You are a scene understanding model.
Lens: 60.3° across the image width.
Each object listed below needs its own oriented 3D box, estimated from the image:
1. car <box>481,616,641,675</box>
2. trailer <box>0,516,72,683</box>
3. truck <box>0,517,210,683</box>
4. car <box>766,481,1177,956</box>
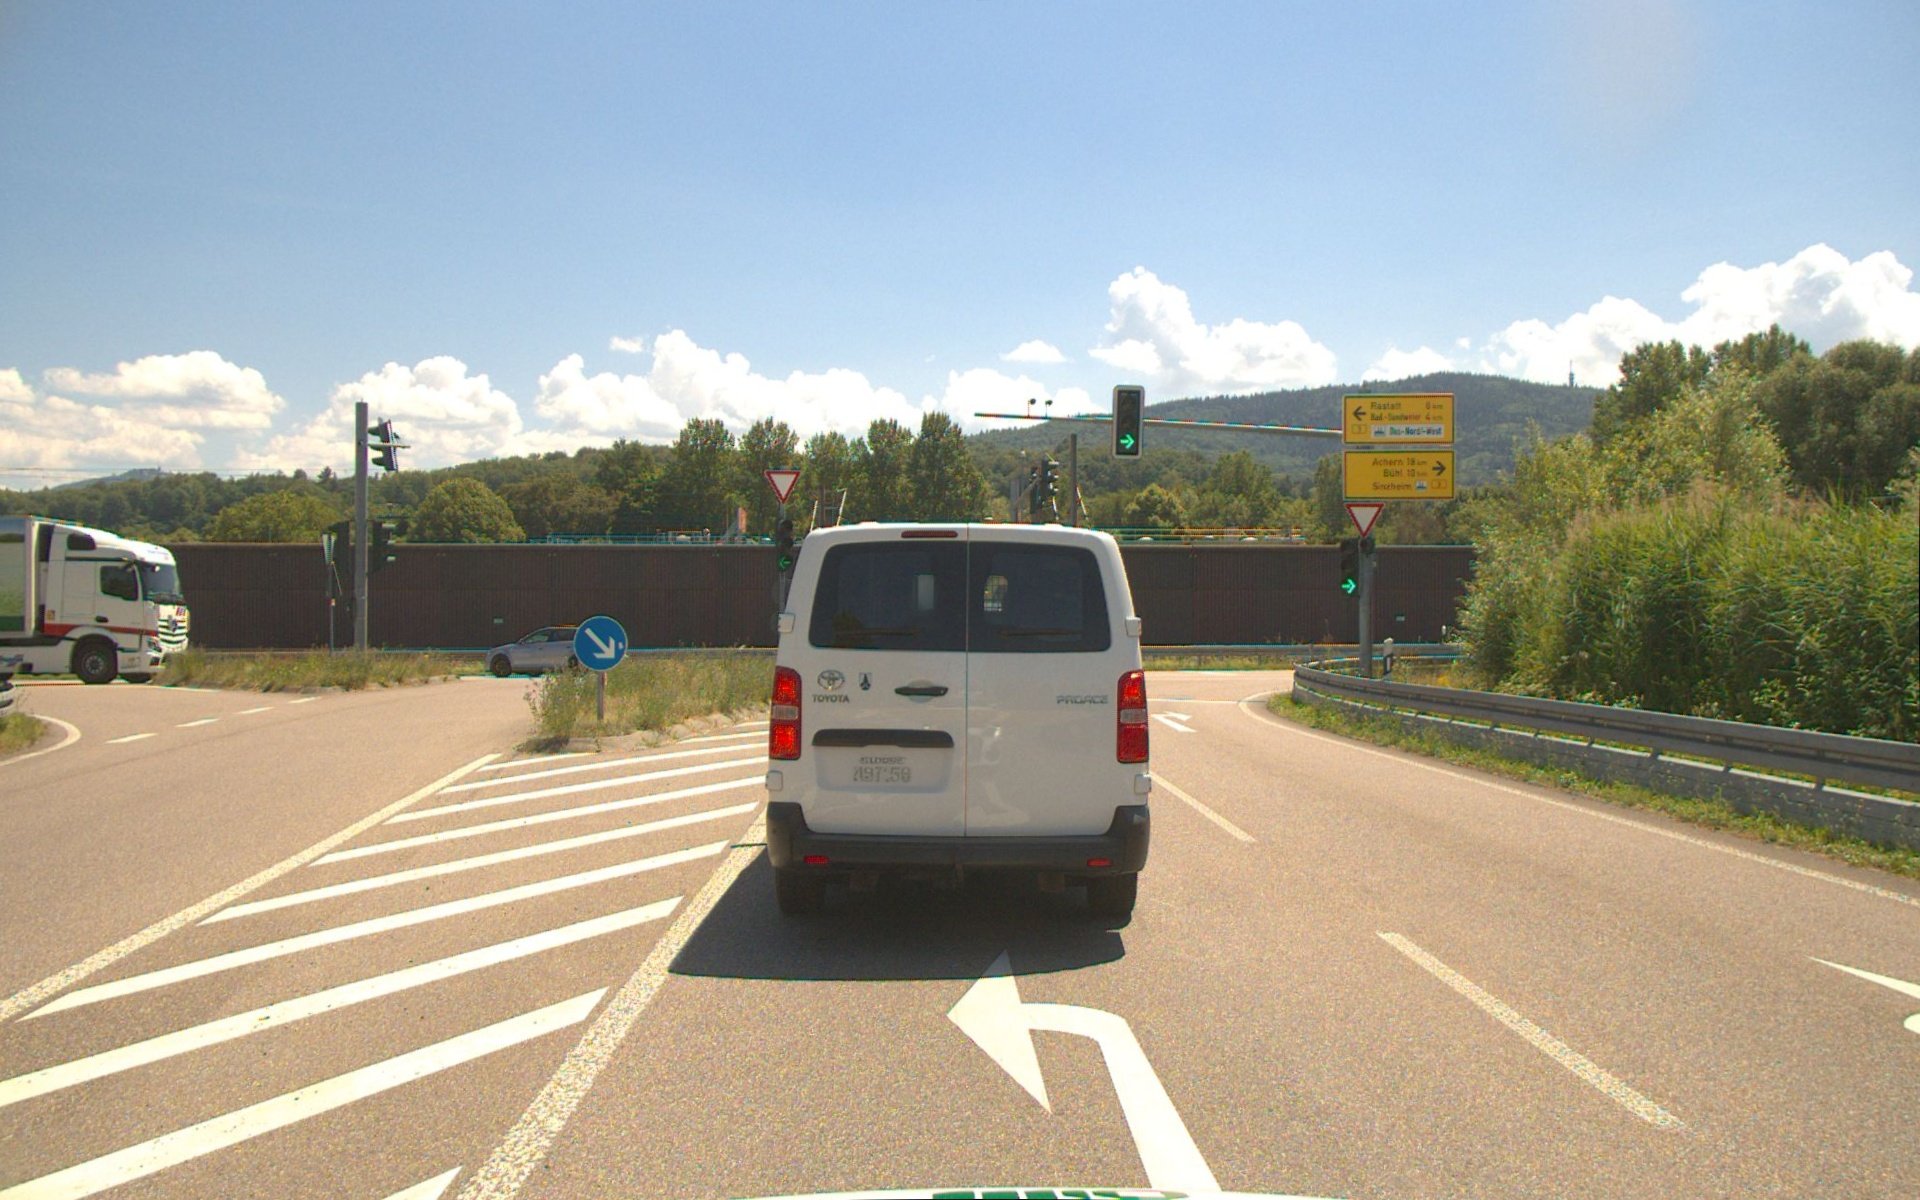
[{"bbox_3d":[-11.171,1.258,46.351,3.905,1.579,2.000,0,-1,21],"label":"car"},{"bbox_3d":[-29.517,-0.025,41.245,12.877,4.024,3.060,0,-1,-3],"label":"trailer"},{"bbox_3d":[-22.388,0.019,41.583,5.649,4.024,3.060,0,-1,-3],"label":"truck"},{"bbox_3d":[0.023,0.534,9.179,1.778,2.053,3.999,0,-1,-1],"label":"car"}]
